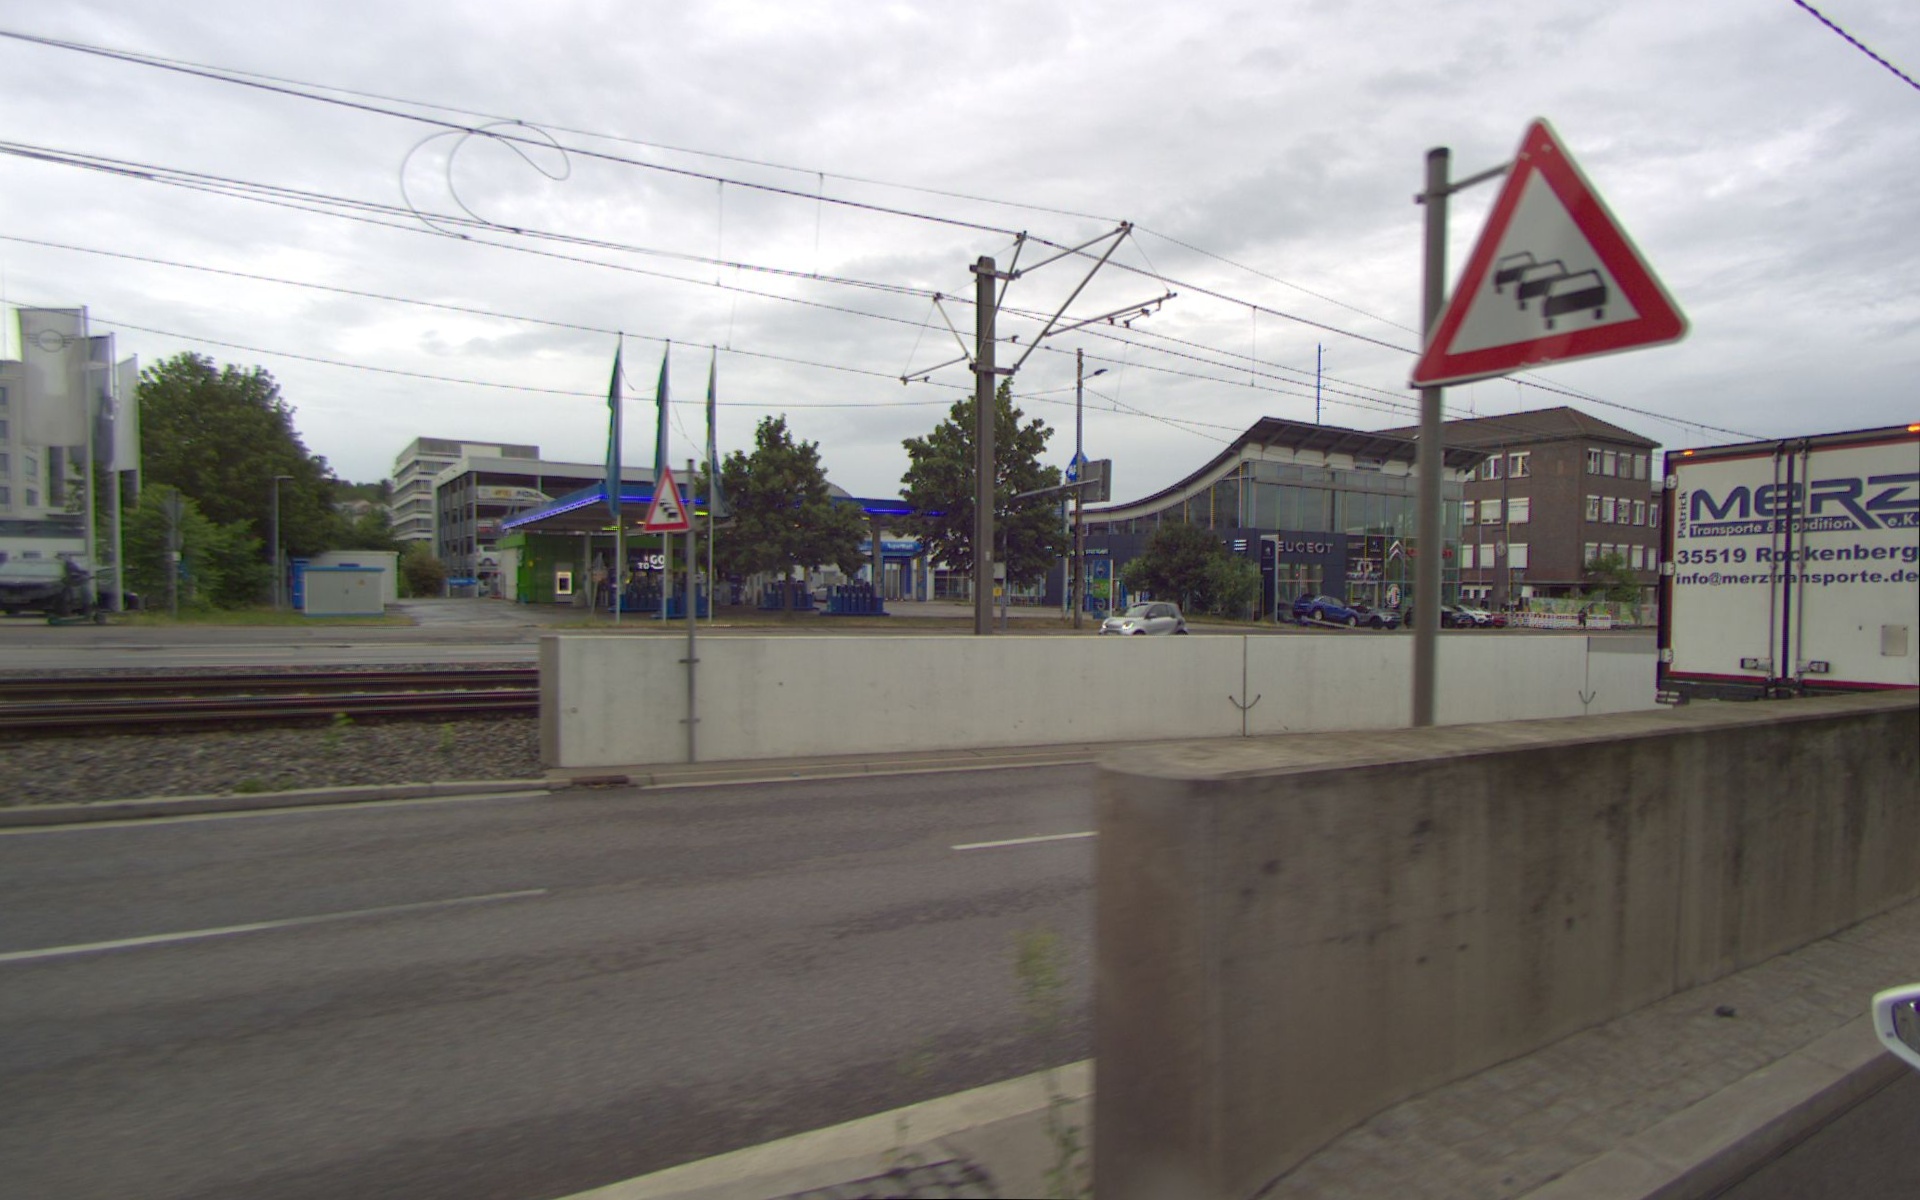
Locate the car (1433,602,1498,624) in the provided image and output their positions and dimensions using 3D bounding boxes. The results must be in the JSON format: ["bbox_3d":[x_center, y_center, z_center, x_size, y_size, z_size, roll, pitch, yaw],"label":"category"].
[{"bbox_3d":[33.330,0.826,66.332,1.730,1.416,3.463,1,0,-30],"label":"car"}]

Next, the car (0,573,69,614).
[{"bbox_3d":[-30.493,-0.216,31.681,3.395,1.260,1.575,1,1,-35],"label":"car"}]

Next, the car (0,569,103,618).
[{"bbox_3d":[-25.911,-0.200,28.425,1.694,1.291,3.503,1,1,-26],"label":"car"}]

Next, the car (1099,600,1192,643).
[{"bbox_3d":[6.073,0.695,32.797,2.768,1.317,1.375,1,1,-31],"label":"car"}]

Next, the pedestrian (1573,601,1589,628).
[{"bbox_3d":[41.792,0.981,67.591,0.830,1.774,0.612,0,1,-31],"label":"pedestrian"}]

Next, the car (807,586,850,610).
[{"bbox_3d":[-9.591,-0.167,73.132,1.834,1.662,3.970,0,1,-29],"label":"car"}]

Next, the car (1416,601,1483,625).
[{"bbox_3d":[31.356,0.821,64.406,1.730,1.493,3.463,1,0,-30],"label":"car"}]

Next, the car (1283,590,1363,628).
[{"bbox_3d":[20.799,0.520,57.554,4.010,1.629,1.759,9,-3,-20],"label":"car"}]

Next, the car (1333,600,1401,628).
[{"bbox_3d":[24.564,0.866,60.711,1.558,1.420,3.483,-1,-4,-34],"label":"car"}]

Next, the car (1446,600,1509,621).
[{"bbox_3d":[34.950,0.737,67.873,1.601,1.400,3.459,1,-1,-34],"label":"car"}]

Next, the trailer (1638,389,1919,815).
[{"bbox_3d":[14.668,0.090,14.621,13.031,4.309,2.749,1,-1,-31],"label":"trailer"}]
